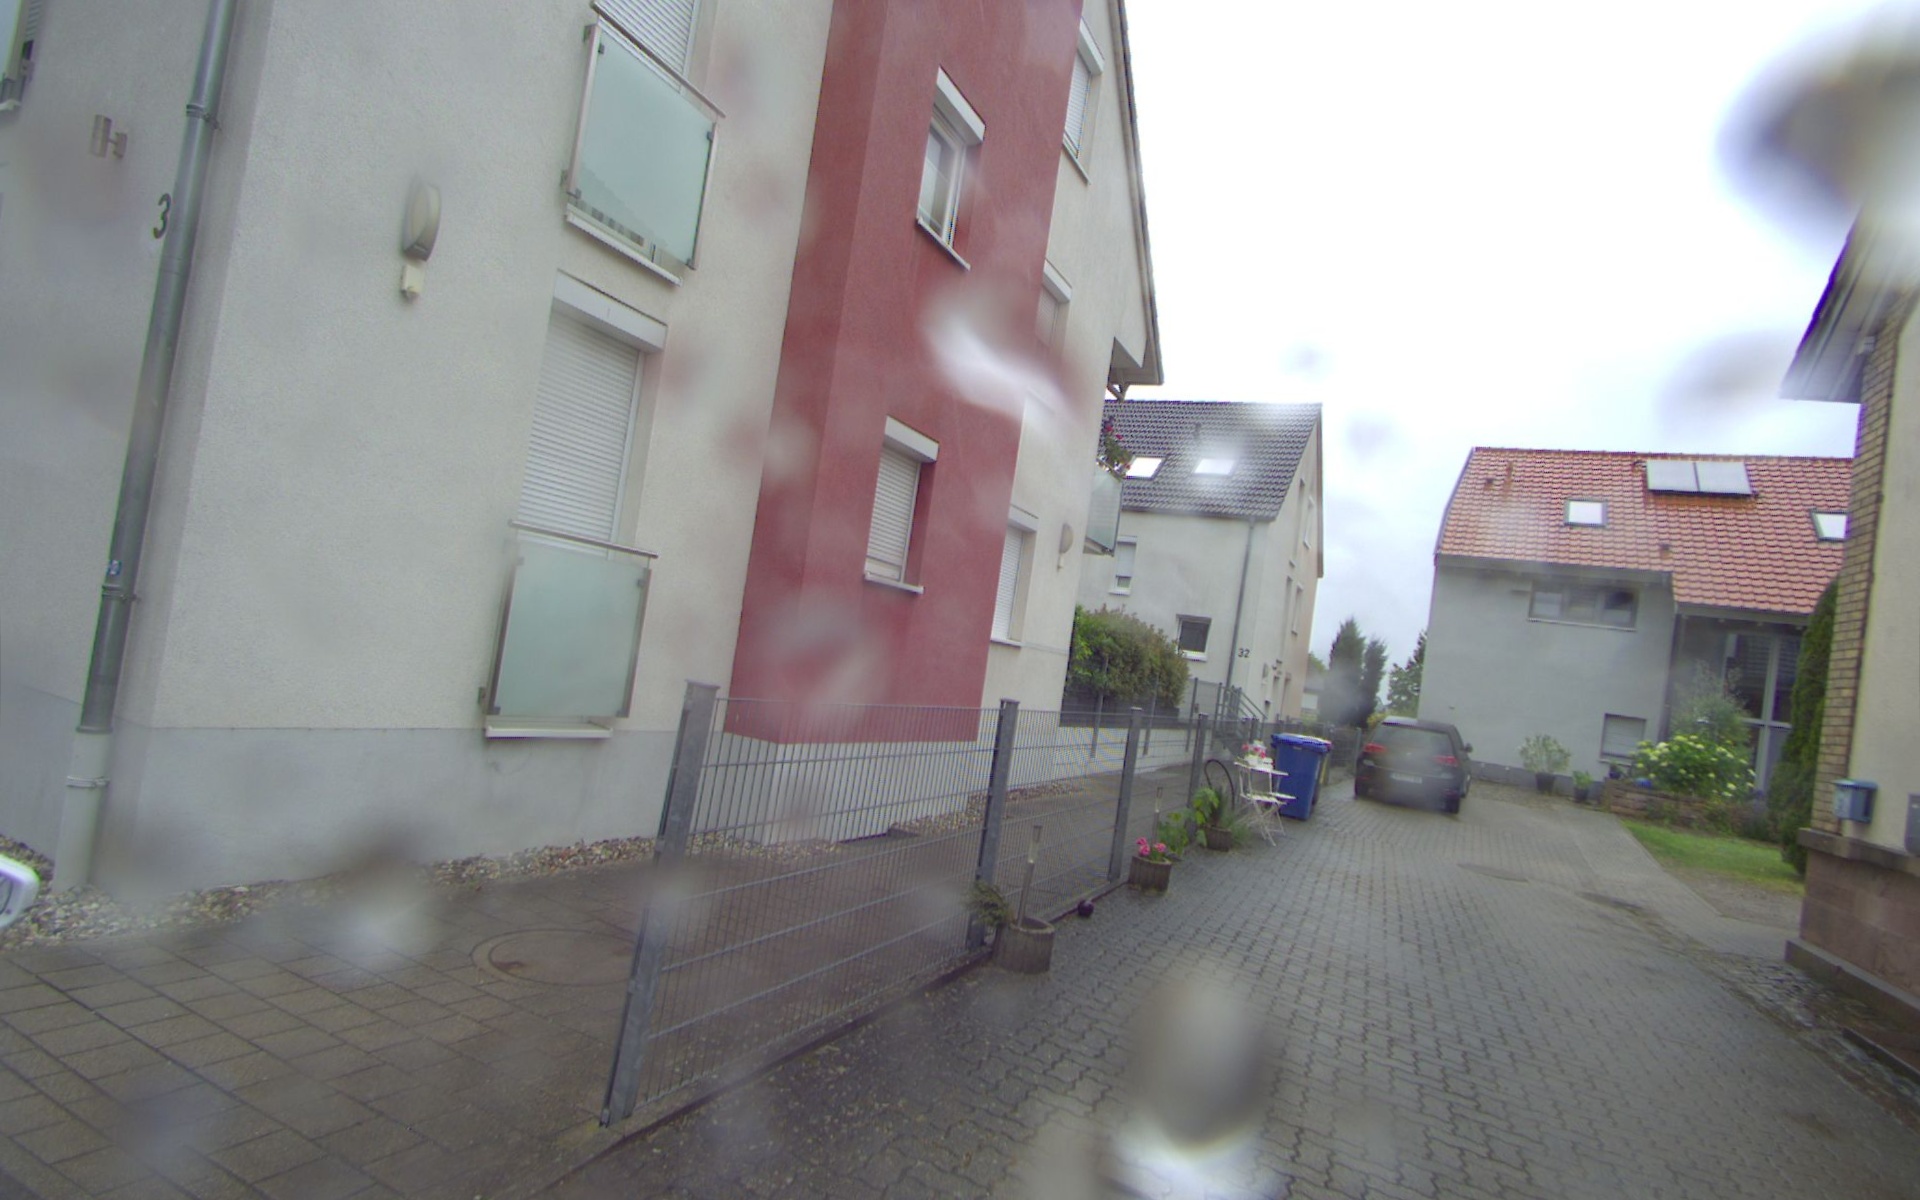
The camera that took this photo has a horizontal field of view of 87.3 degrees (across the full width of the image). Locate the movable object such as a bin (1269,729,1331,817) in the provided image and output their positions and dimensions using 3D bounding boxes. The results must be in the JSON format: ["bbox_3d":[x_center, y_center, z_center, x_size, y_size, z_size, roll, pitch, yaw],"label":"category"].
[{"bbox_3d":[4.822,2.439,14.256,0.675,1.108,0.536,7,-2,25],"label":"movable object such as a bin"}]

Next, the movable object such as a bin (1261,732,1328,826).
[{"bbox_3d":[4.488,2.383,13.477,0.675,1.108,0.536,7,-2,25],"label":"movable object such as a bin"}]

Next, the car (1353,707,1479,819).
[{"bbox_3d":[8.556,2.915,18.698,1.656,1.491,3.993,7,0,30],"label":"car"}]
